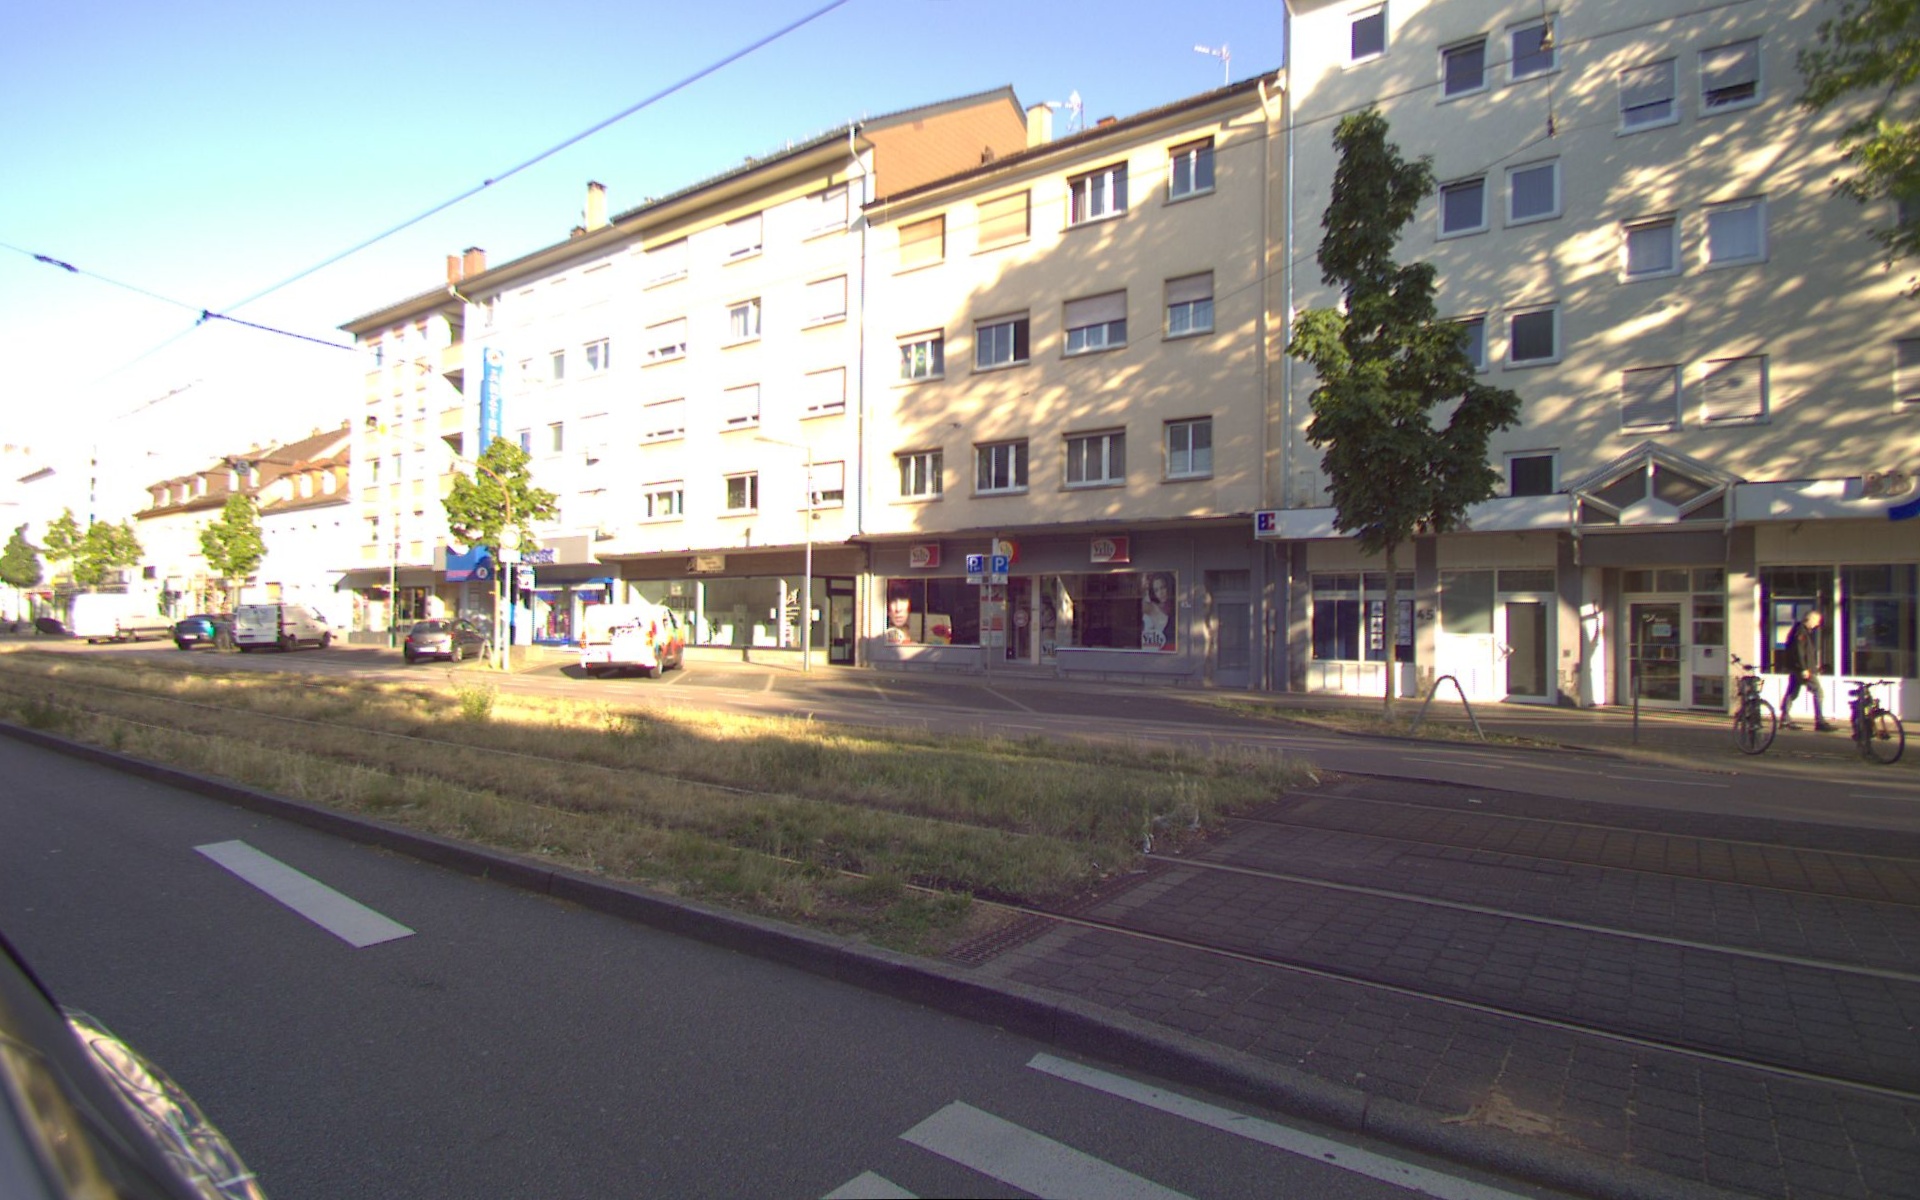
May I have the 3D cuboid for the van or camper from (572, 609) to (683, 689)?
[{"bbox_3d":[-8.892,1.226,27.490,1.921,1.912,4.822,-1,0,-6],"label":"van or camper"}]

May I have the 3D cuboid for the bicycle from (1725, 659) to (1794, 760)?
[{"bbox_3d":[10.365,1.379,13.155,0.533,1.133,1.878,-1,-1,34],"label":"bicycle"}]

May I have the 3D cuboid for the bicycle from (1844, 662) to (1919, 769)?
[{"bbox_3d":[11.390,1.373,12.437,0.533,1.133,1.878,-1,-1,34],"label":"bicycle"}]

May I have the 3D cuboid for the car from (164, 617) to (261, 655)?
[{"bbox_3d":[-34.303,1.613,46.577,1.850,1.598,4.007,-1,0,-7],"label":"car"}]

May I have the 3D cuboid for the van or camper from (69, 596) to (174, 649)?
[{"bbox_3d":[-45.388,1.180,55.015,1.966,2.687,6.417,-1,0,-16],"label":"van or camper"}]

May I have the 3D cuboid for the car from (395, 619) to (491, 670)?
[{"bbox_3d":[-17.617,1.467,34.701,1.741,1.501,4.461,-1,0,-11],"label":"car"}]

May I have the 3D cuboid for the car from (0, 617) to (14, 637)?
[{"bbox_3d":[-73.399,2.049,75.453,1.752,1.501,3.899,-1,0,13],"label":"car"}]

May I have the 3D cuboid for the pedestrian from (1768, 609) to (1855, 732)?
[{"bbox_3d":[12.983,1.049,15.446,0.970,1.801,0.612,-1,0,41],"label":"pedestrian"}]

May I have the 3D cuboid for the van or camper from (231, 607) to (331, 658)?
[{"bbox_3d":[-28.569,1.316,42.755,1.771,2.004,4.460,-1,0,-9],"label":"van or camper"}]
